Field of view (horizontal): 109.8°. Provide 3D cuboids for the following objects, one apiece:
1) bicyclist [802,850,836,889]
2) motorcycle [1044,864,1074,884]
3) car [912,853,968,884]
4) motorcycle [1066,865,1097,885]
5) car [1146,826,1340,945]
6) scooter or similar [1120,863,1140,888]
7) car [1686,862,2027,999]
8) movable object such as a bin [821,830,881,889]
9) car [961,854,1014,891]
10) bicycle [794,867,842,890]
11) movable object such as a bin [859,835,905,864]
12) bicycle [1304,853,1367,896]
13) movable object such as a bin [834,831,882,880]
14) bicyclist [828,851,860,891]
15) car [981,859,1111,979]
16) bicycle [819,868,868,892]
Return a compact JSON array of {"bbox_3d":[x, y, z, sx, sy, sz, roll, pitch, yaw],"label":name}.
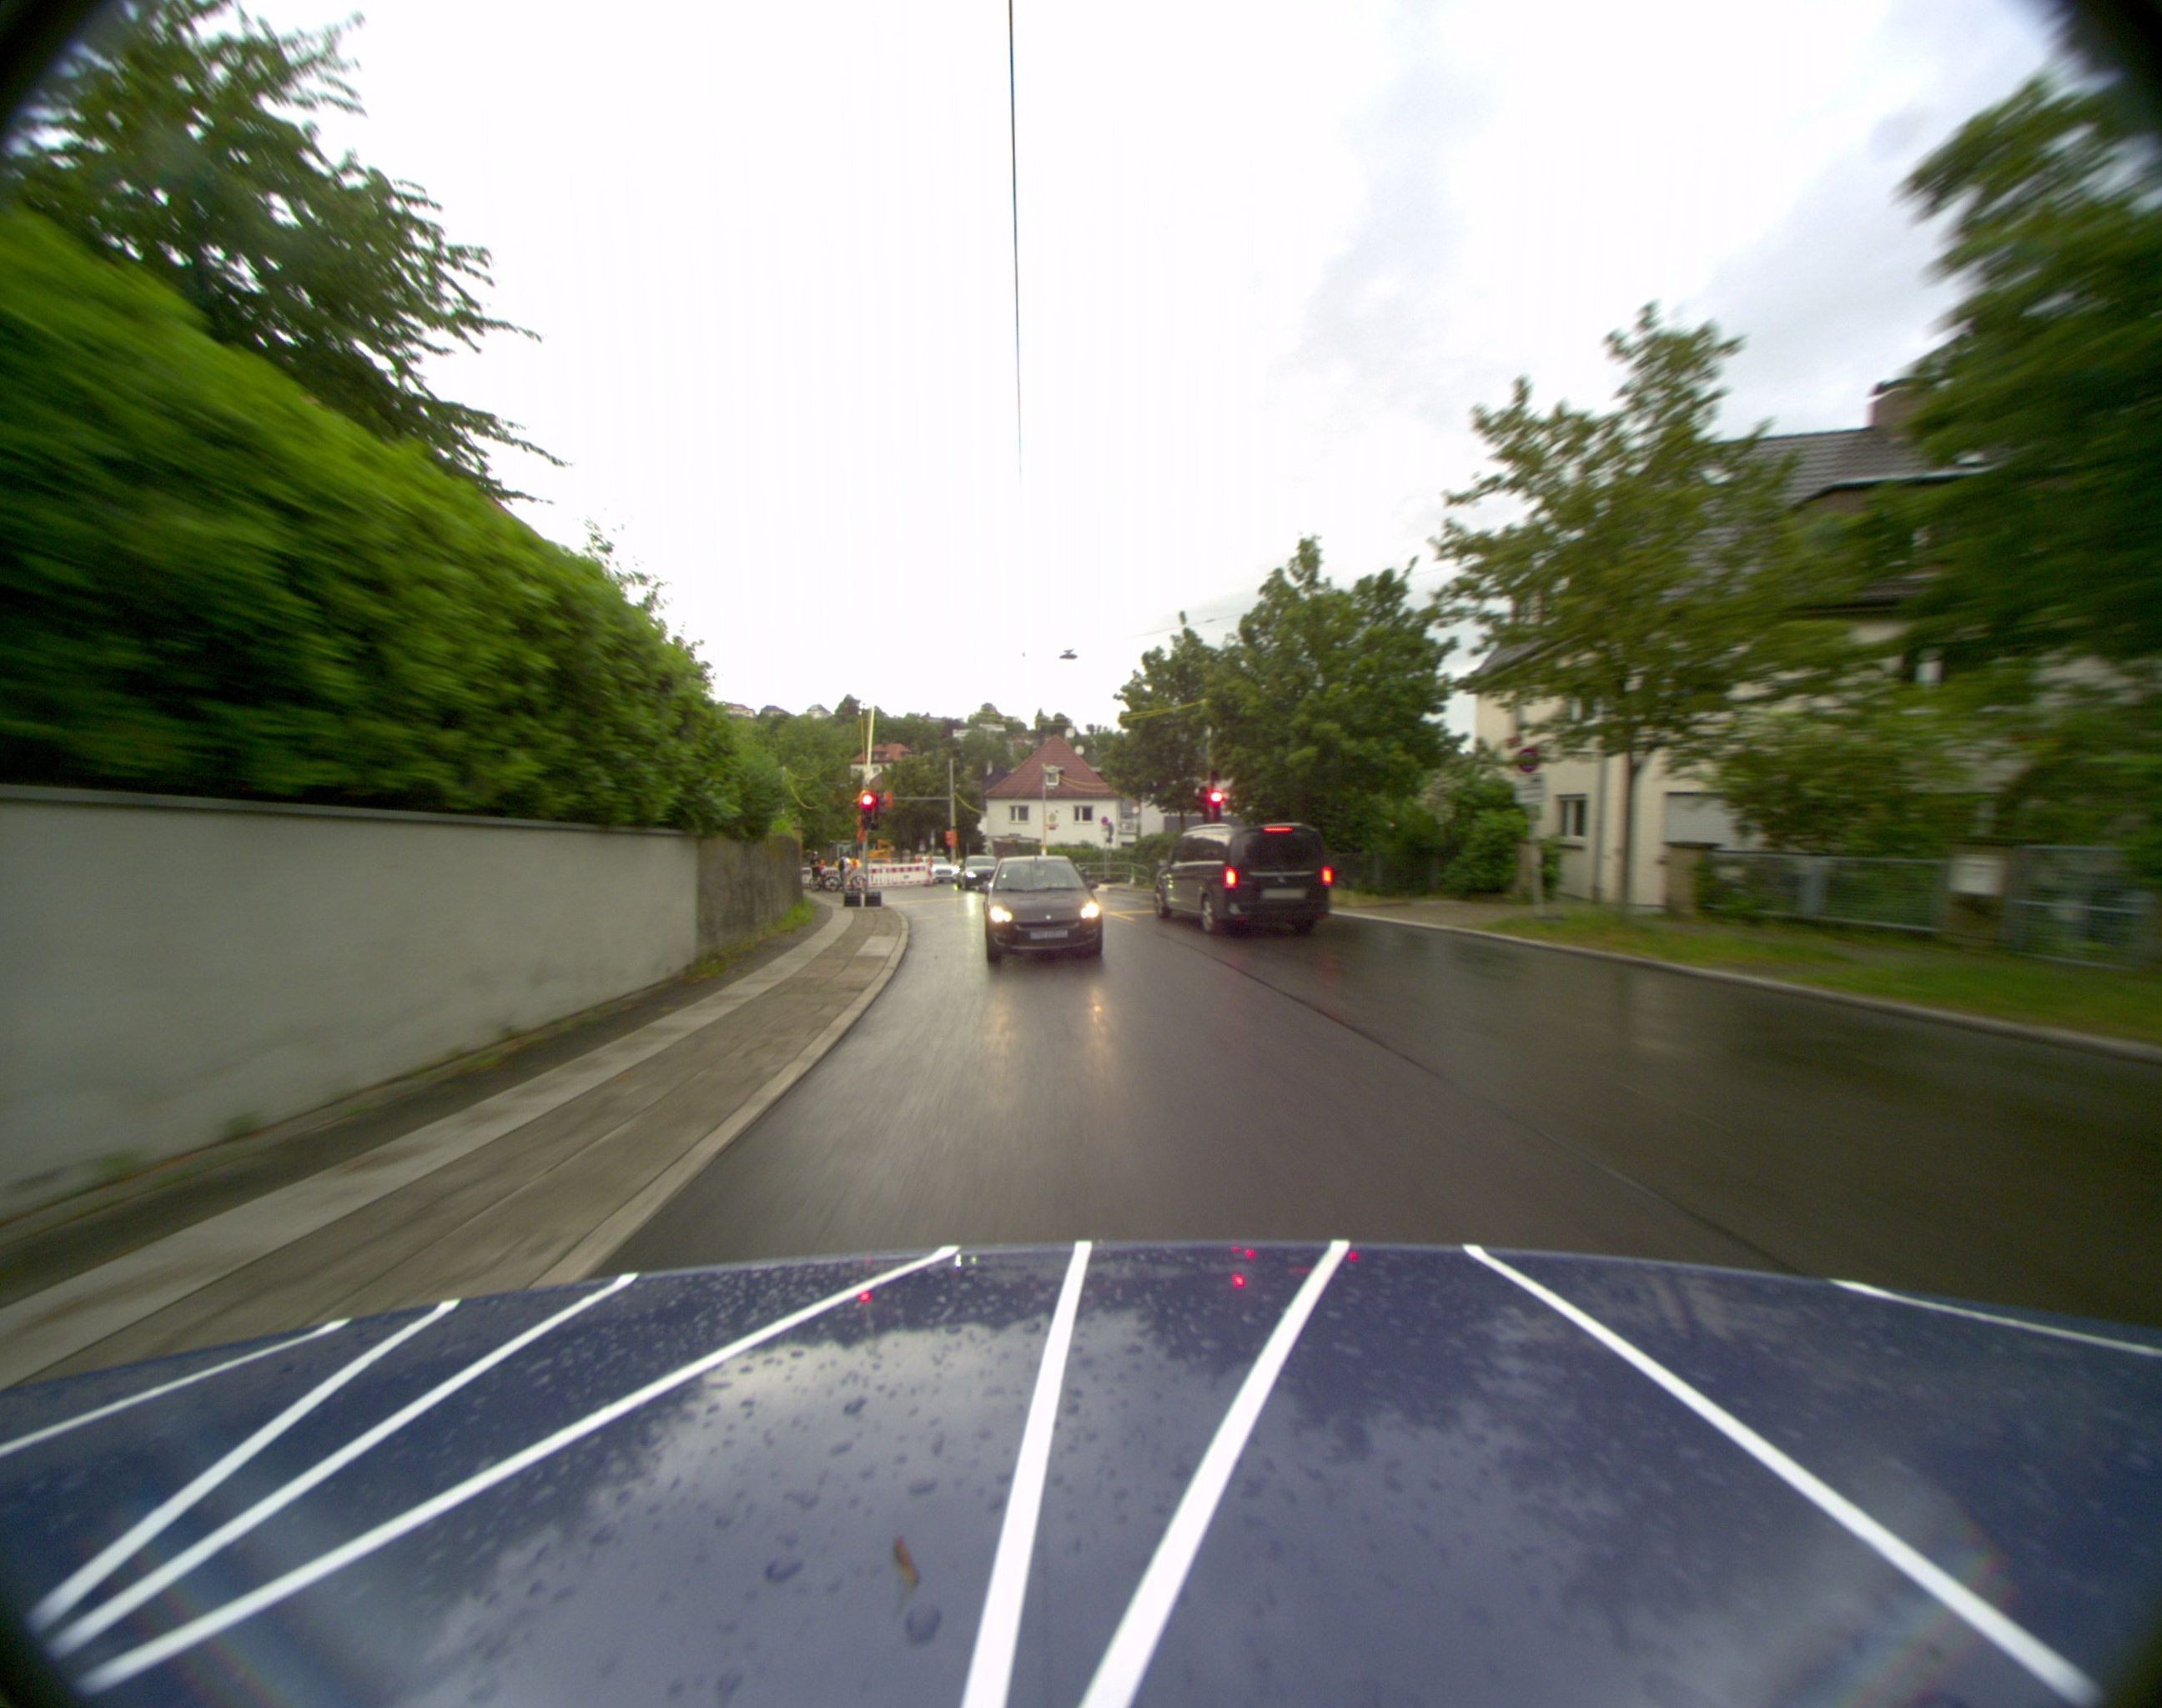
[{"bbox_3d":[-11.802,0.703,34.243,1.075,1.719,0.933,0,1,9],"label":"bicyclist"},{"bbox_3d":[-1.155,1.061,40.194,0.670,1.030,2.147,1,-1,-29],"label":"motorcycle"},{"bbox_3d":[-8.587,0.814,45.935,2.005,1.699,4.562,0,1,-28],"label":"car"},{"bbox_3d":[0.015,1.043,38.060,0.670,0.928,2.005,1,-1,-29],"label":"motorcycle"},{"bbox_3d":[2.804,0.478,14.585,1.903,1.878,5.148,1,1,-9],"label":"car"},{"bbox_3d":[2.135,0.932,33.235,0.325,1.074,1.093,1,0,-28],"label":"scooter or similar"},{"bbox_3d":[14.556,1.354,14.581,3.991,1.576,1.857,12,4,14],"label":"car"},{"bbox_3d":[-11.958,0.269,39.227,2.096,2.821,5.665,-1,0,-25],"label":"movable object such as a bin"},{"bbox_3d":[-4.045,0.732,32.329,1.845,1.395,4.066,1,1,-12],"label":"car"},{"bbox_3d":[-11.850,1.087,34.266,1.827,0.975,0.933,-1,1,9],"label":"bicycle"},{"bbox_3d":[-27.249,-0.691,104.342,3.326,3.817,7.209,1,1,10],"label":"movable object such as a bin"},{"bbox_3d":[8.065,0.641,24.206,0.493,1.264,2.269,-3,0,-22],"label":"bicycle"},{"bbox_3d":[-14.184,0.004,48.134,2.096,2.822,5.663,-1,3,-25],"label":"movable object such as a bin"},{"bbox_3d":[-10.495,0.742,33.625,1.079,1.719,0.930,-2,2,-34],"label":"bicyclist"},{"bbox_3d":[-0.735,0.867,12.263,1.675,1.458,4.712,1,1,-7],"label":"car"},{"bbox_3d":[-10.508,1.126,33.625,1.887,0.975,0.930,-1,1,-34],"label":"bicycle"}]
